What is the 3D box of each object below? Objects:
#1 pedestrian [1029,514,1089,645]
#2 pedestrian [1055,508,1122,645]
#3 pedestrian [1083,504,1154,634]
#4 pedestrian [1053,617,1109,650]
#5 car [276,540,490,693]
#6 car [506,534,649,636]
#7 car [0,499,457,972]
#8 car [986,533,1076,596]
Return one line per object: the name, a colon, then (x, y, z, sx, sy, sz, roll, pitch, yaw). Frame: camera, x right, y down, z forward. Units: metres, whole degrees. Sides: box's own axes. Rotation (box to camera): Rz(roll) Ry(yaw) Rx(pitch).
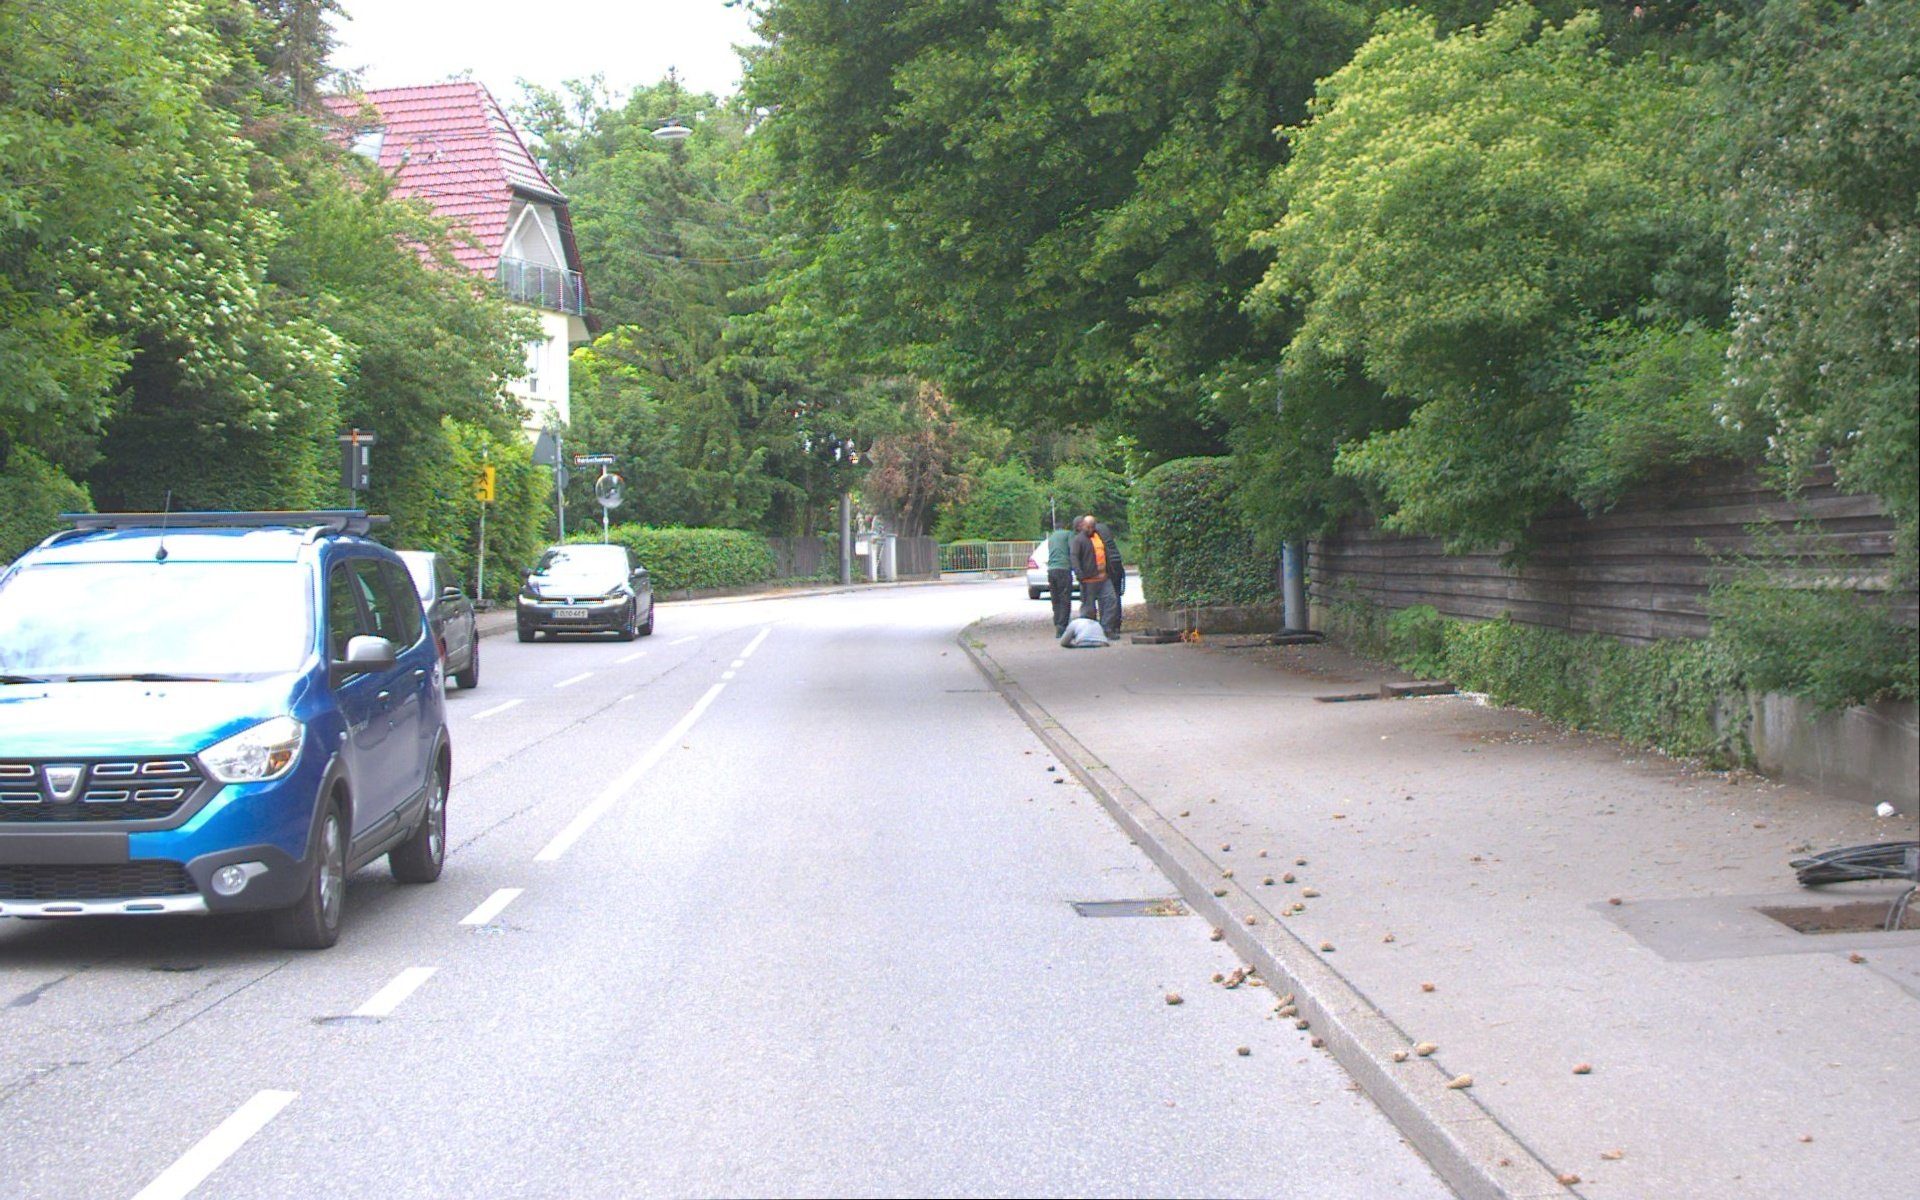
pedestrian: (1.379, -0.287, 47.969, 0.601, 1.801, 0.517, -1, 1, 39)
pedestrian: (1.719, -0.316, 46.156, 0.807, 1.801, 0.741, -1, 1, -2)
pedestrian: (2.222, -0.432, 48.206, 0.689, 1.801, 0.673, -2, 1, -42)
pedestrian: (1.573, 0.431, 44.831, 0.672, 0.392, 0.741, -1, 1, -2)
car: (-6.141, 0.139, 36.908, 1.684, 1.514, 3.536, 1, 1, 0)
car: (-5.777, -0.251, 52.342, 1.681, 1.466, 4.018, -1, 1, 0)
car: (-3.339, 0.463, 14.655, 1.805, 1.711, 4.379, 0, 1, -1)
car: (1.718, -0.824, 81.365, 1.797, 1.410, 4.335, 0, 0, 6)
